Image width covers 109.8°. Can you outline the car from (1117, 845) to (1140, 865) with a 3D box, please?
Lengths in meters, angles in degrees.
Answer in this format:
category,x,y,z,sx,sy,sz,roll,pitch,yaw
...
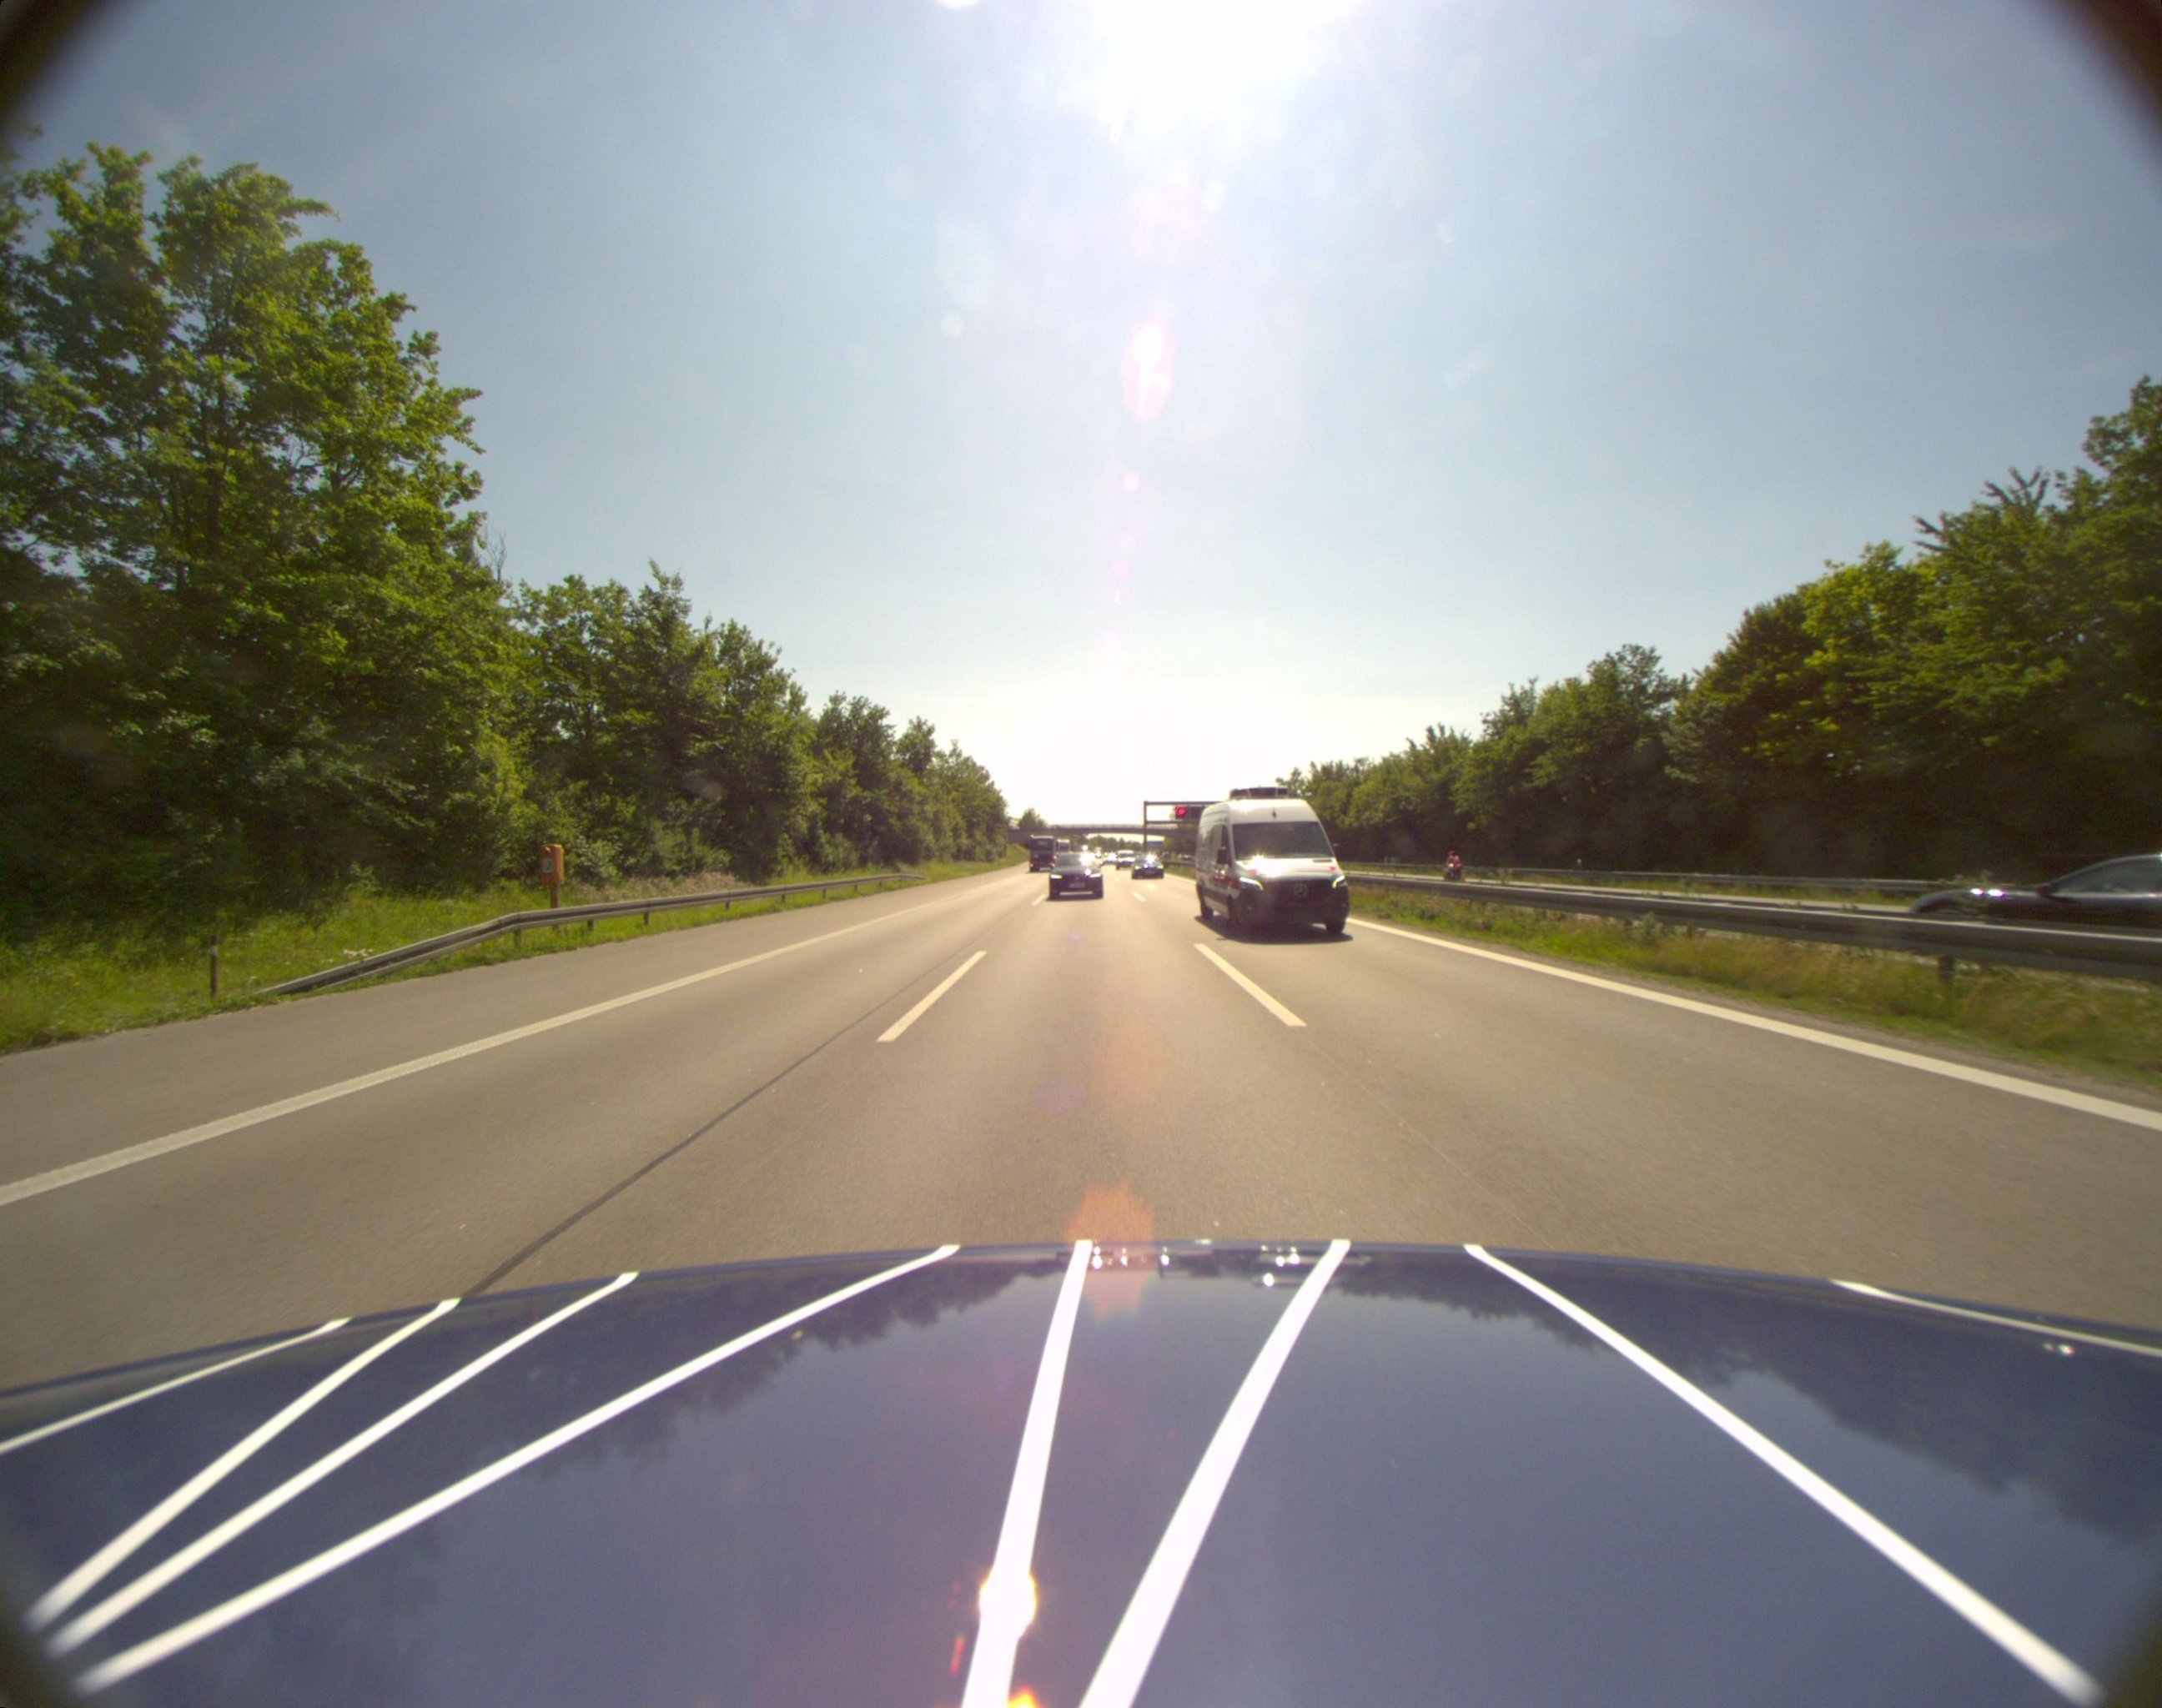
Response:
category,x,y,z,sx,sy,sz,roll,pitch,yaw
car,4.443,0.074,71.248,1.870,1.713,3.980,-1,1,0

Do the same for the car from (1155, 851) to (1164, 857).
category,x,y,z,sx,sy,sz,roll,pitch,yaw
car,21.073,0.095,204.137,1.998,1.434,4.532,-1,1,1

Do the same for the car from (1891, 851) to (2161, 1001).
category,x,y,z,sx,sy,sz,roll,pitch,yaw
car,11.627,0.710,7.576,1.998,1.466,4.830,0,0,1

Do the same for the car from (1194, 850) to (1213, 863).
category,x,y,z,sx,sy,sz,roll,pitch,yaw
car,16.040,0.331,99.673,1.872,1.576,4.557,0,0,0

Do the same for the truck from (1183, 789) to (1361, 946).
category,x,y,z,sx,sy,sz,roll,pitch,yaw
truck,3.624,0.223,15.974,1.998,2.527,6.691,-2,0,0

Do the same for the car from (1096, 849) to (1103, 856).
category,x,y,z,sx,sy,sz,roll,pitch,yaw
car,5.129,-0.475,208.306,1.998,2.002,4.345,0,0,2

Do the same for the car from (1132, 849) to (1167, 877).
category,x,y,z,sx,sy,sz,roll,pitch,yaw
car,4.179,0.515,46.787,1.904,1.616,4.241,-1,0,3

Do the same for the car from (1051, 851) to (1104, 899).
category,x,y,z,sx,sy,sz,roll,pitch,yaw
car,-0.112,0.705,28.170,1.812,1.648,4.000,0,0,1

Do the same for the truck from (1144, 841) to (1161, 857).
category,x,y,z,sx,sy,sz,roll,pitch,yaw
truck,15.966,-1.179,169.821,2.786,3.286,8.055,-1,1,0

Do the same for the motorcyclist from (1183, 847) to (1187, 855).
category,x,y,z,sx,sy,sz,roll,pitch,yaw
motorcyclist,19.995,-0.546,146.081,0.807,1.491,0.931,-1,1,0

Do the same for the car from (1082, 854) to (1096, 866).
category,x,y,z,sx,sy,sz,roll,pitch,yaw
car,1.209,0.853,112.751,1.742,1.630,3.845,0,1,5

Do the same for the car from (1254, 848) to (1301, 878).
category,x,y,z,sx,sy,sz,roll,pitch,yaw
car,12.698,0.543,49.322,1.694,1.871,5.018,0,0,0

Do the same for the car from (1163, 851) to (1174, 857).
category,x,y,z,sx,sy,sz,roll,pitch,yaw
car,20.453,-0.022,178.258,1.907,1.456,5.065,0,1,-1

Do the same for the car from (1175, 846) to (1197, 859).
category,x,y,z,sx,sy,sz,roll,pitch,yaw
car,12.559,-0.163,90.794,1.999,1.511,4.427,0,0,0

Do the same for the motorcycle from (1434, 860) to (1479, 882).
category,x,y,z,sx,sy,sz,roll,pitch,yaw
motorcycle,18.997,0.852,38.507,0.937,1.012,2.655,0,0,0

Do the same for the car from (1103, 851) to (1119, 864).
category,x,y,z,sx,sy,sz,roll,pitch,yaw
car,3.814,0.472,96.643,1.998,1.540,3.999,-1,1,2

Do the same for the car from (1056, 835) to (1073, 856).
category,x,y,z,sx,sy,sz,roll,pitch,yaw
car,-3.131,-1.593,145.967,3.202,3.997,8.125,0,1,0

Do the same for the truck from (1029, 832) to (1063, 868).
category,x,y,z,sx,sy,sz,roll,pitch,yaw
truck,-3.343,-0.400,74.050,2.965,3.388,8.046,0,1,0

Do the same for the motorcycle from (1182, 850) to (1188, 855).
category,x,y,z,sx,sy,sz,roll,pitch,yaw
motorcycle,20.011,-0.301,146.216,0.807,0.940,2.221,-1,1,0

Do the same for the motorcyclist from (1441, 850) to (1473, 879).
category,x,y,z,sx,sy,sz,roll,pitch,yaw
motorcyclist,18.998,0.529,38.451,0.943,1.435,1.356,0,0,0

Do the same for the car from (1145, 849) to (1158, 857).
category,x,y,z,sx,sy,sz,roll,pitch,yaw
car,13.332,-0.184,143.885,1.999,1.589,4.591,-1,1,0
